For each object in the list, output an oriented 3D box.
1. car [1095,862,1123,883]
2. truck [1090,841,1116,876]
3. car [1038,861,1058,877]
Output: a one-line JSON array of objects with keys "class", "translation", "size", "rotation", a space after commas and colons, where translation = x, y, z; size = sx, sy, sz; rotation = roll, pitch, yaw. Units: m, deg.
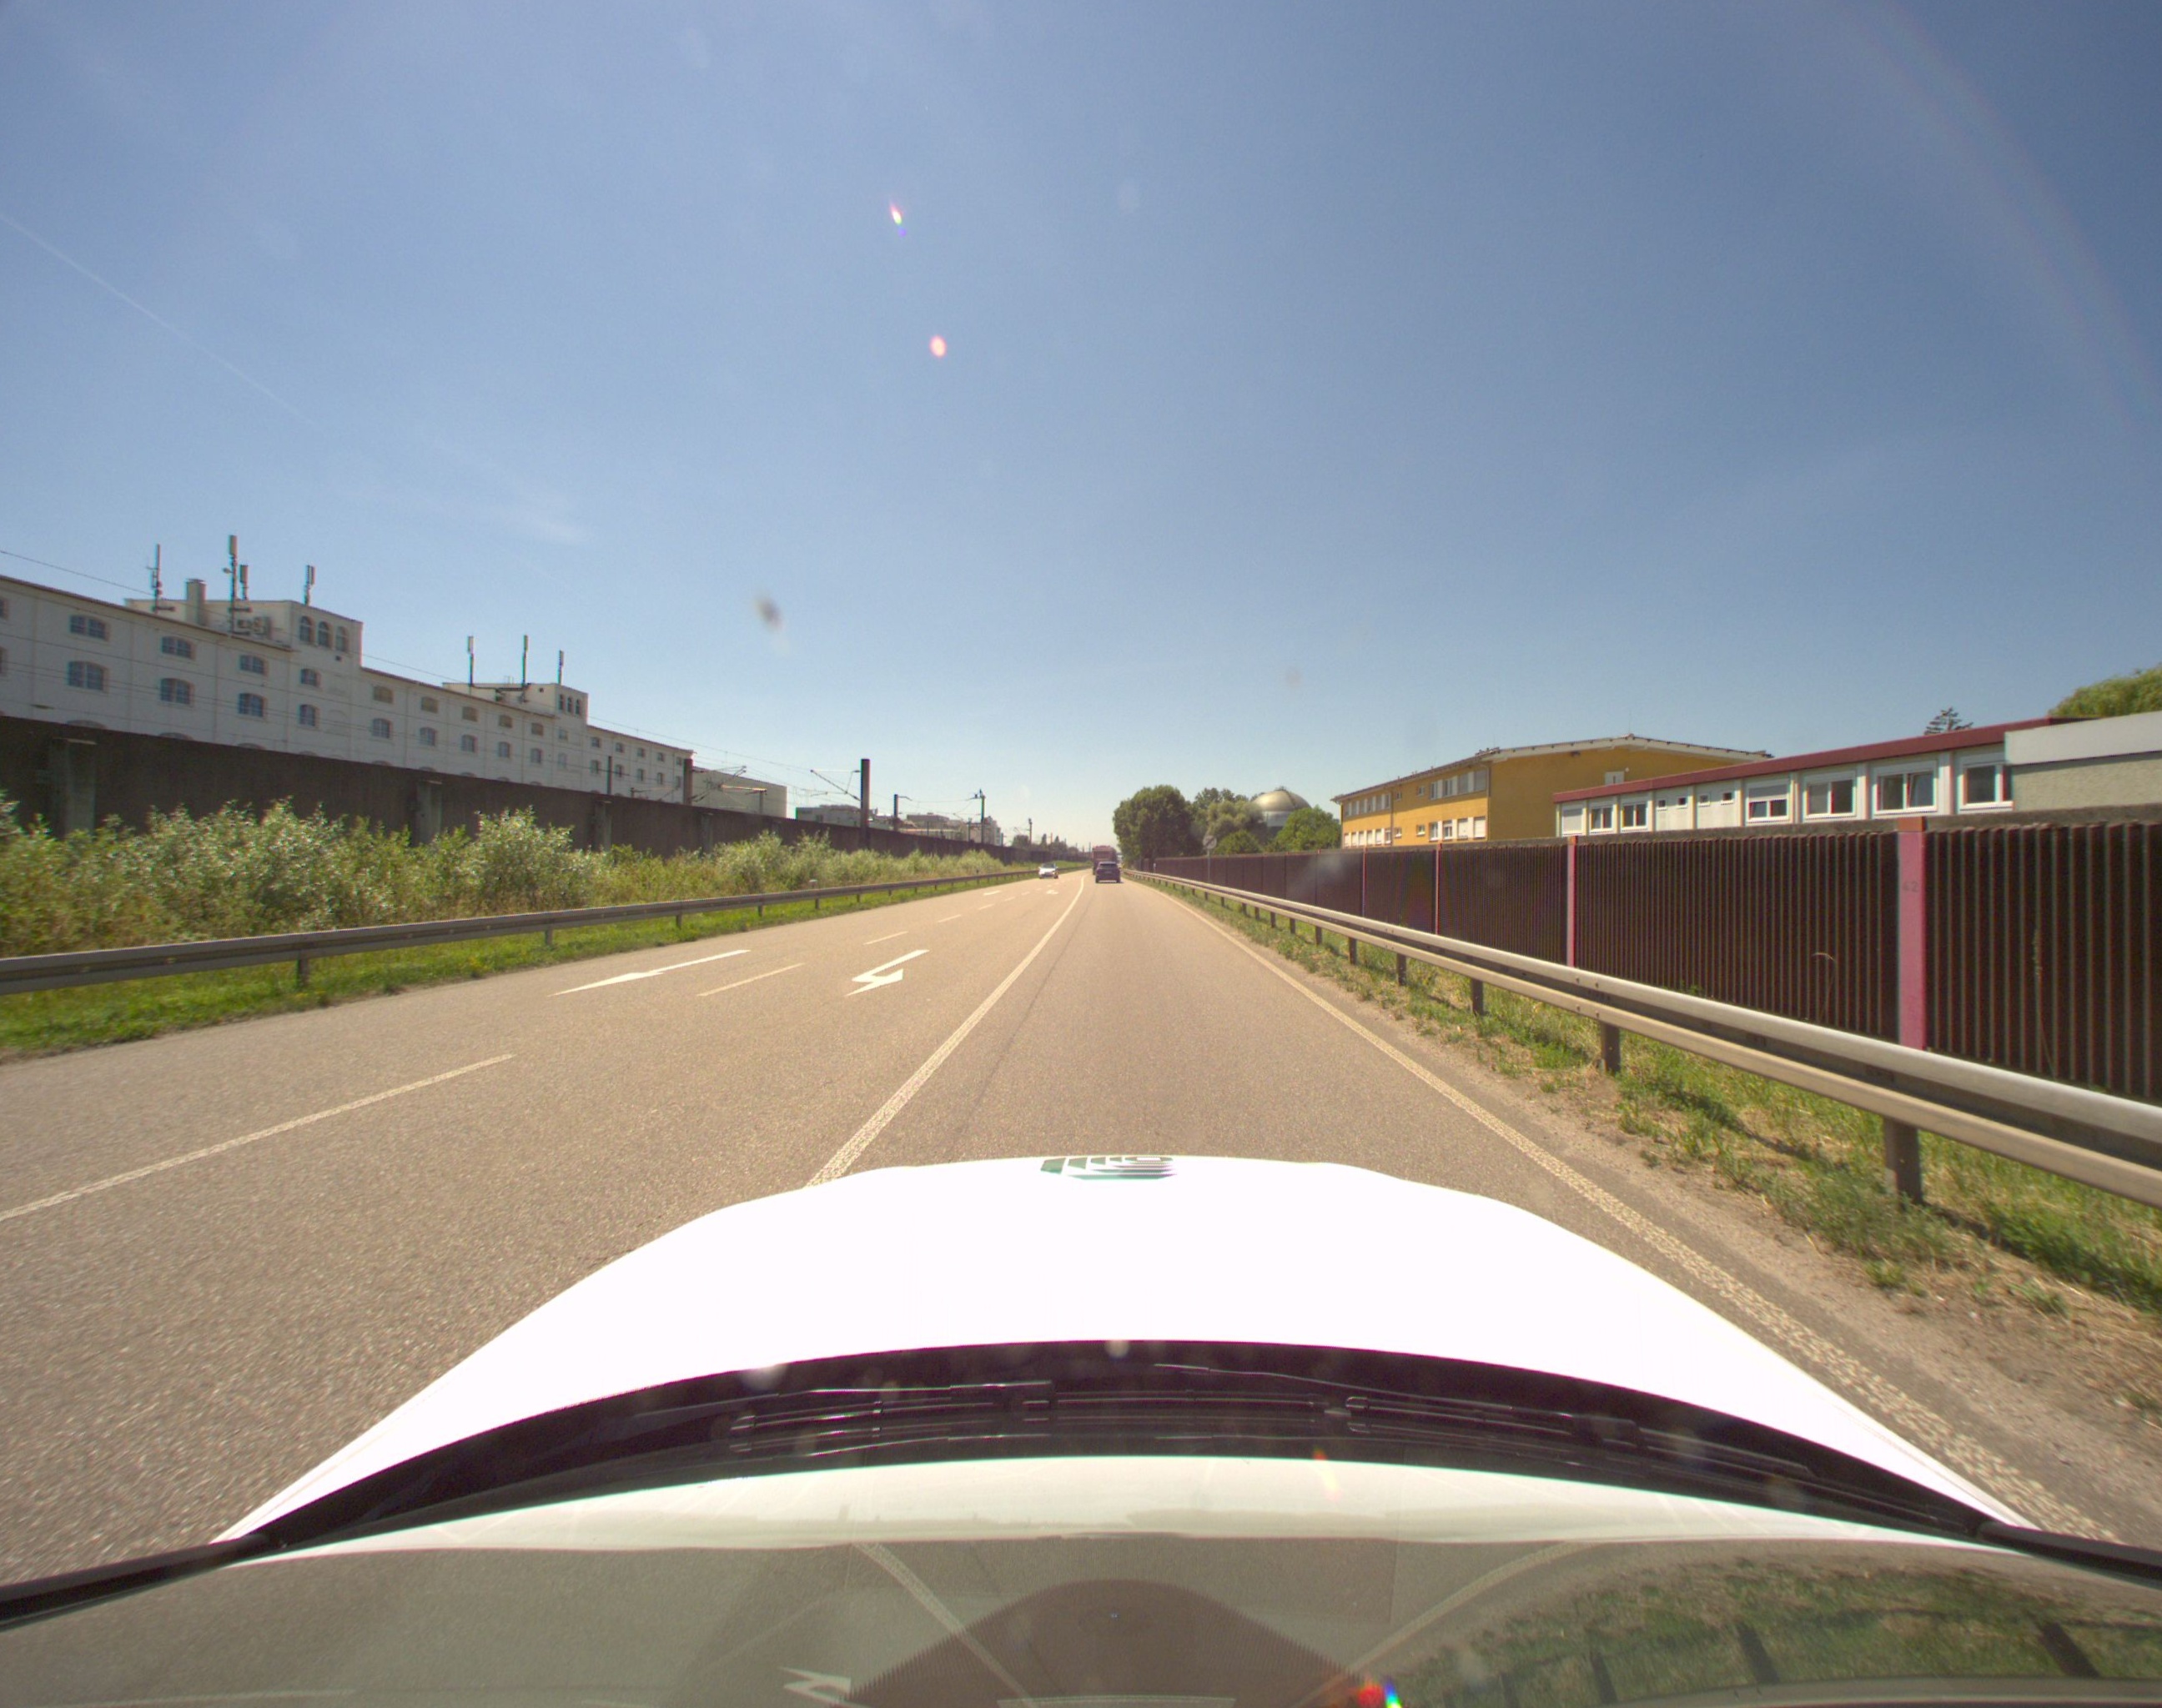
[{"class": "car", "translation": [2.064, 1.409, 60.085], "size": [1.986, 1.503, 4.001], "rotation": [0, -2, 2]}, {"class": "truck", "translation": [2.704, 0.671, 102.870], "size": [2.985, 4.181, 11.807], "rotation": [-1, -1, 1]}, {"class": "car", "translation": [-3.107, 1.455, 78.337], "size": [1.666, 1.502, 3.723], "rotation": [-1, -1, 1]}]
